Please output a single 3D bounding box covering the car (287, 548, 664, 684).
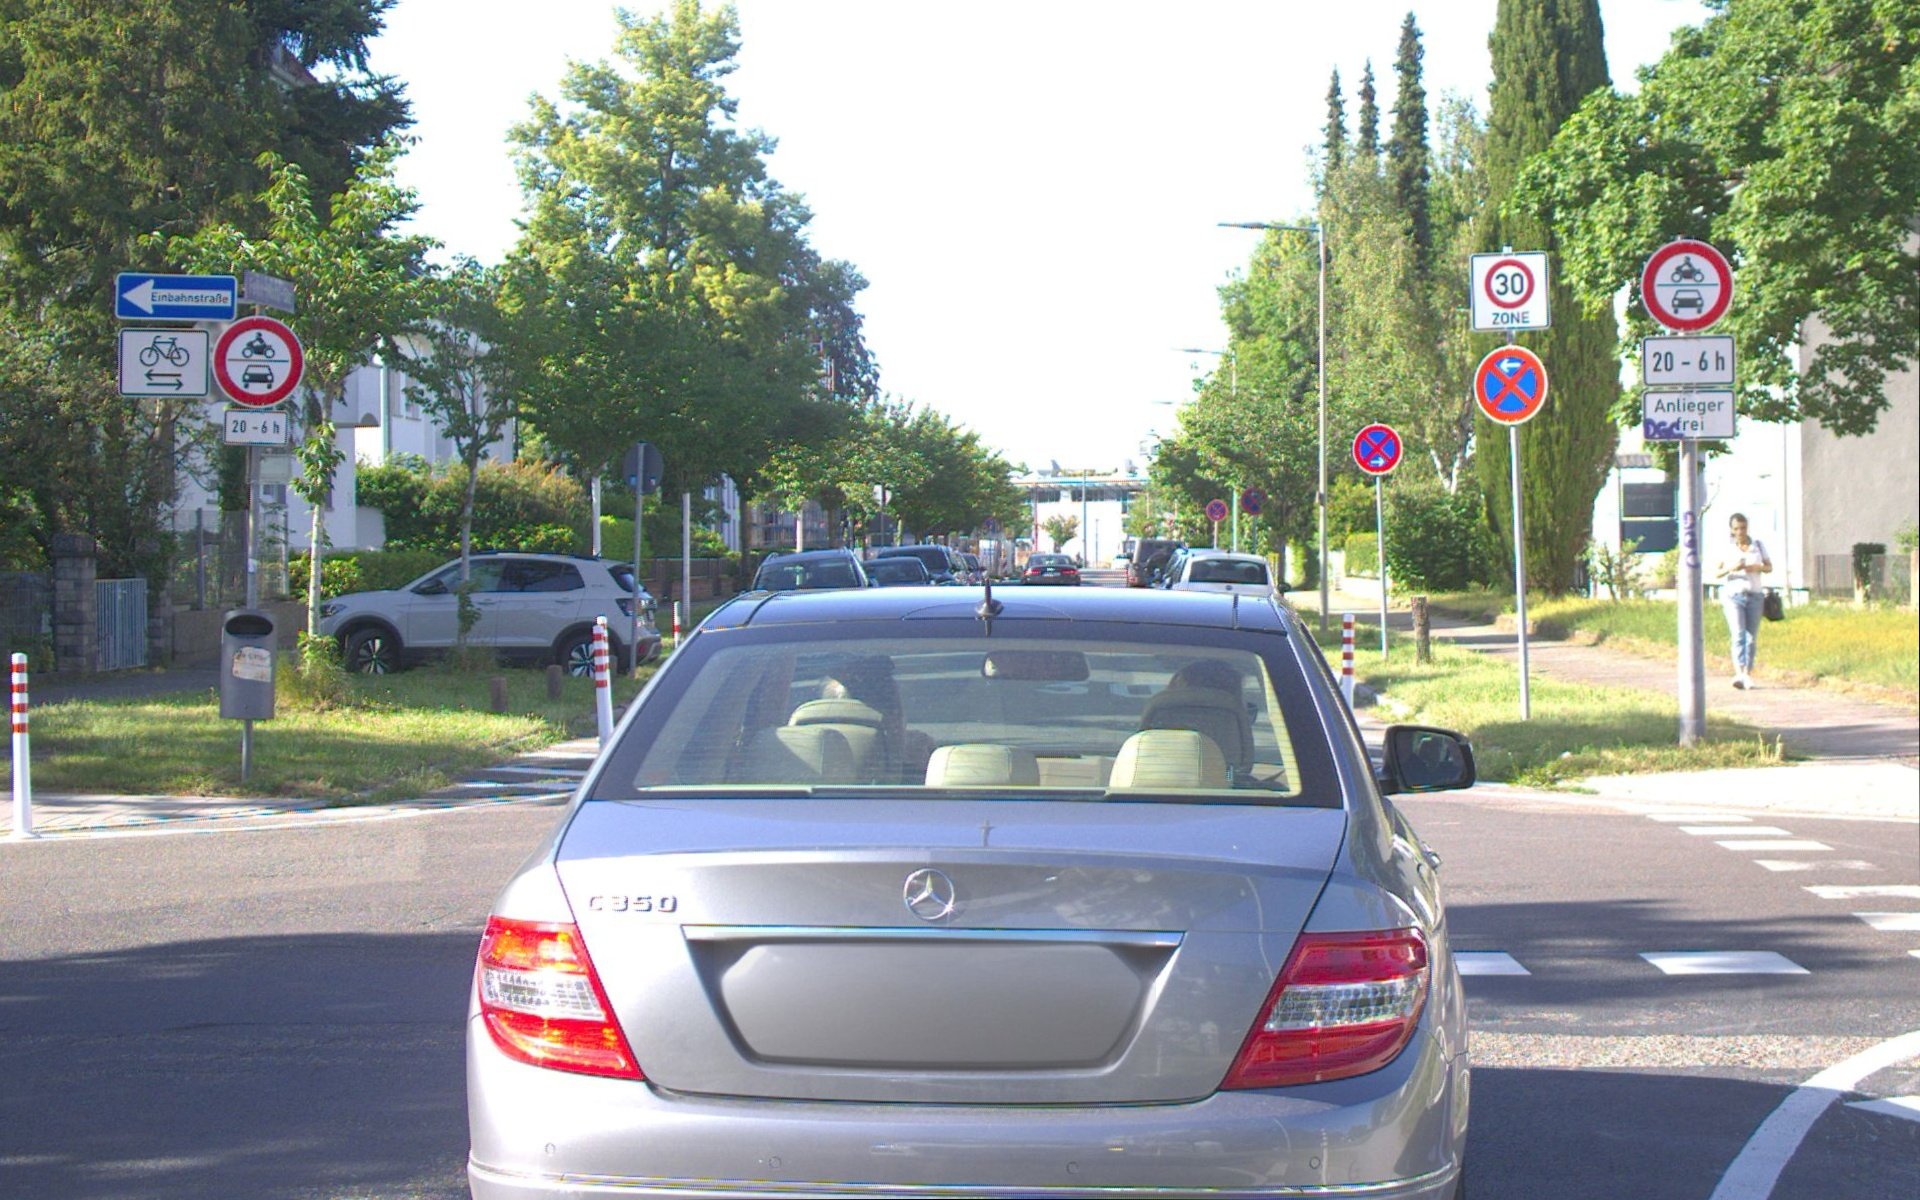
[{"bbox_3d":[-5.652,0.168,40.494,4.192,1.558,1.842,0,1,-1],"label":"car"}]

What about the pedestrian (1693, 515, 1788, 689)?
[{"bbox_3d":[7.331,0.011,32.316,0.766,1.605,0.834,-1,1,7],"label":"pedestrian"}]

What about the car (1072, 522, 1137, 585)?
[{"bbox_3d":[4.309,-1.409,103.124,1.855,1.835,4.000,-1,1,2],"label":"car"}]

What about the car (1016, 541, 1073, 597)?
[{"bbox_3d":[2.501,-0.953,102.683,1.597,1.604,3.644,-1,1,0],"label":"car"}]

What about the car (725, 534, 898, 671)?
[{"bbox_3d":[-1.912,-0.006,45.493,1.993,1.604,4.000,-4,1,0],"label":"car"}]

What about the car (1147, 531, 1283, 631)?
[{"bbox_3d":[4.291,-0.350,58.394,1.993,1.604,4.000,-1,1,0],"label":"car"}]

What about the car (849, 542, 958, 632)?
[{"bbox_3d":[-1.107,-0.287,69.083,1.993,1.604,4.000,-4,1,0],"label":"car"}]

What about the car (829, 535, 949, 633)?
[{"bbox_3d":[-1.272,-0.325,63.289,1.993,1.604,4.000,-4,1,0],"label":"car"}]

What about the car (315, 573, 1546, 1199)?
[{"bbox_3d":[0.060,0.680,7.118,1.836,1.436,4.000,0,1,3],"label":"car"}]

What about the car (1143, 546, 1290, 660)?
[{"bbox_3d":[3.507,0.006,47.516,1.733,1.474,3.725,-1,1,0],"label":"car"}]
